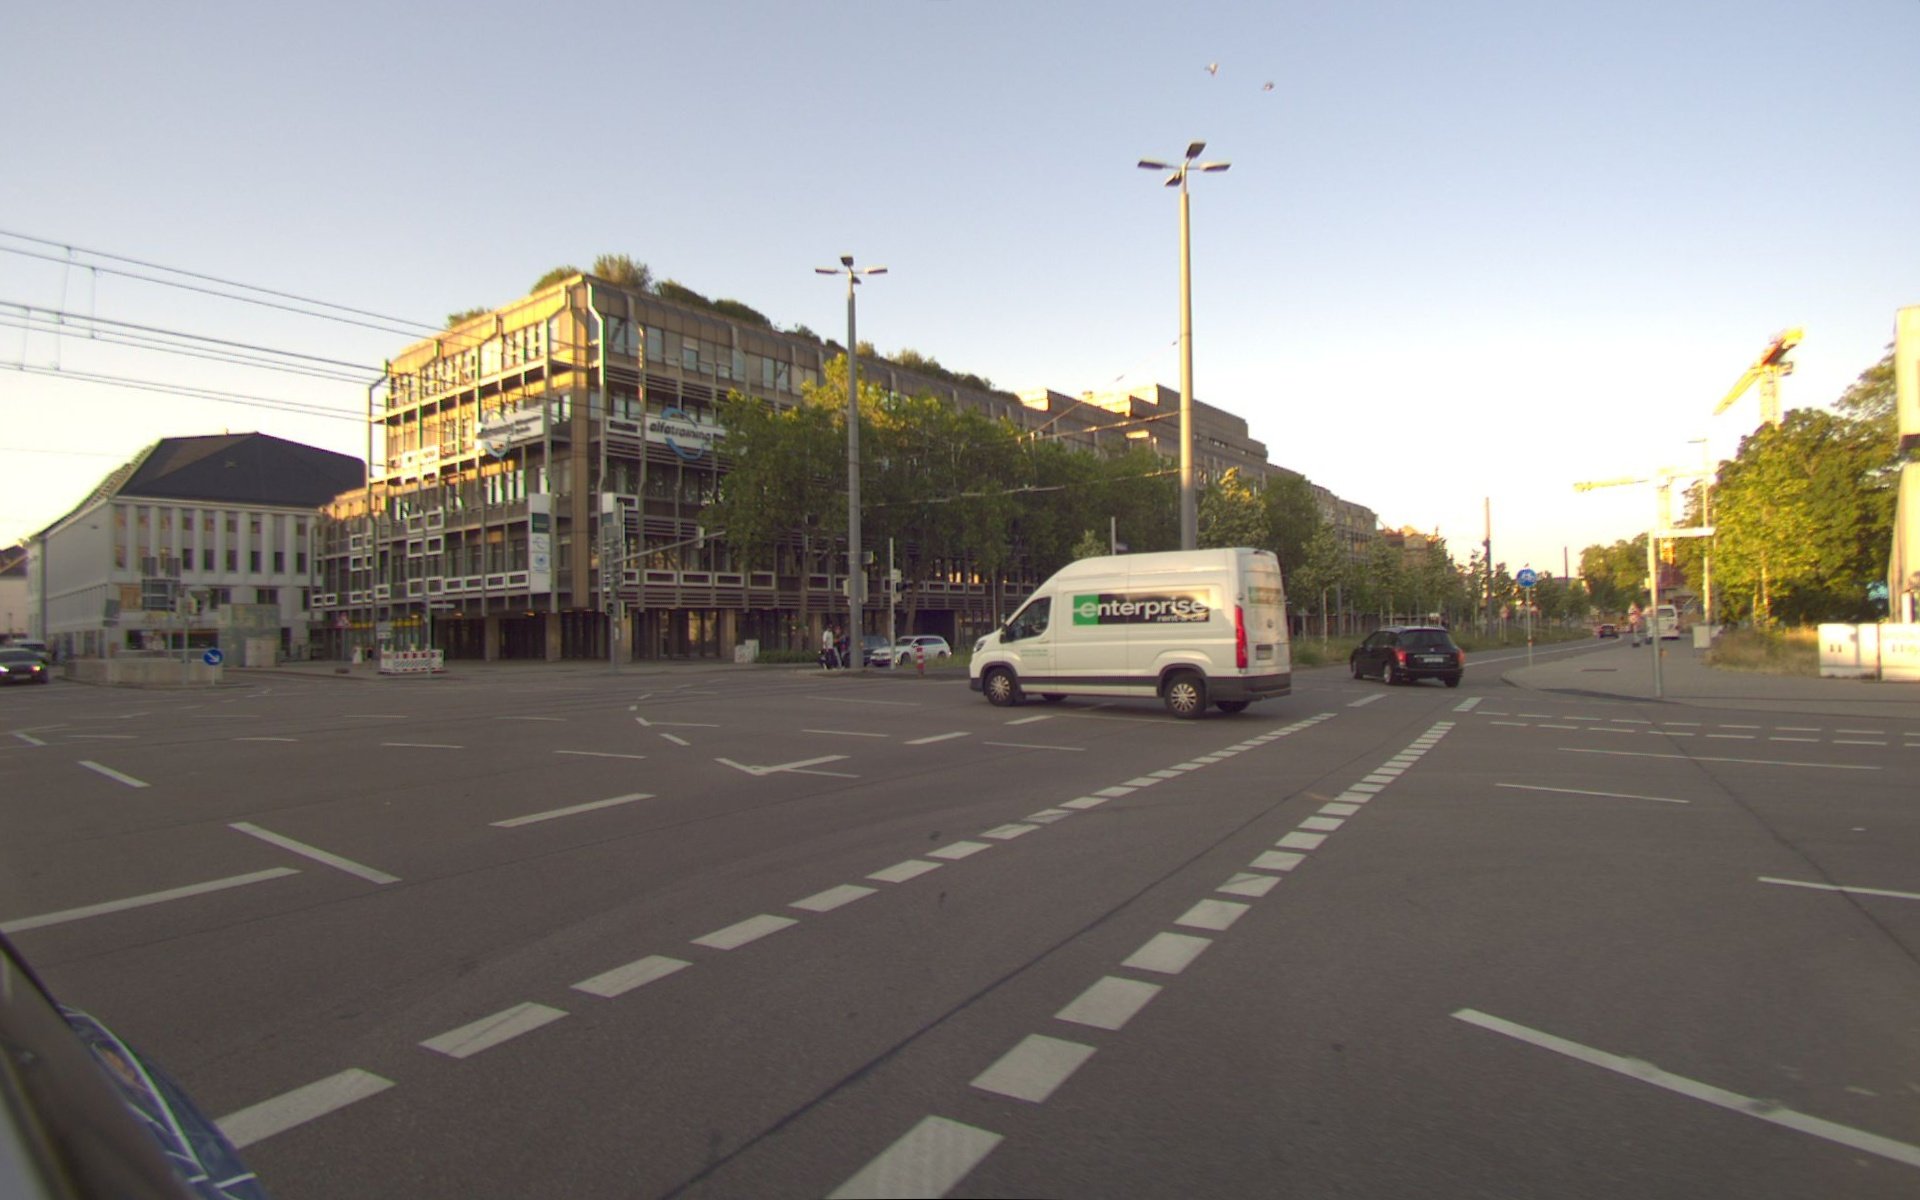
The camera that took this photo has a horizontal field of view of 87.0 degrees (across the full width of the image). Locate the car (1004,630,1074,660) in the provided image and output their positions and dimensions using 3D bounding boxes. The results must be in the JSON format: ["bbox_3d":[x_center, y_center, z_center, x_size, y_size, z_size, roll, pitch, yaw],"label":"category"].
[{"bbox_3d":[4.547,2.558,57.833,2.071,1.663,3.946,-3,-3,40],"label":"car"}]

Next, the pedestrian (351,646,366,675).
[{"bbox_3d":[-35.939,3.605,60.454,0.682,1.726,0.637,-4,-3,44],"label":"pedestrian"}]

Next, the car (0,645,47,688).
[{"bbox_3d":[-39.313,2.732,41.805,4.000,1.663,2.044,-3,-3,43],"label":"car"}]

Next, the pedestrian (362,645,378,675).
[{"bbox_3d":[-35.564,3.615,61.008,0.650,1.726,0.643,-4,-3,44],"label":"pedestrian"}]

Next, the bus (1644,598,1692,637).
[{"bbox_3d":[71.049,1.811,101.495,3.551,3.743,8.811,-2,-2,37],"label":"bus"}]

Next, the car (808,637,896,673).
[{"bbox_3d":[-5.399,2.730,50.902,1.857,1.663,4.342,-3,-3,40],"label":"car"}]

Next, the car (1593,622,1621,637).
[{"bbox_3d":[75.075,3.406,117.386,2.072,1.663,3.945,-3,-2,41],"label":"car"}]

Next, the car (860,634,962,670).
[{"bbox_3d":[-2.346,2.540,49.639,1.999,1.597,5.093,-3,-3,41],"label":"car"}]

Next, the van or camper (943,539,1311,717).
[{"bbox_3d":[2.772,0.574,18.073,6.156,2.687,2.204,-3,-3,39],"label":"van or camper"}]

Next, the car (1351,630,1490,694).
[{"bbox_3d":[12.162,1.592,27.090,2.048,1.564,4.469,-1,-2,6],"label":"car"}]

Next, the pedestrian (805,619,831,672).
[{"bbox_3d":[-5.283,1.676,37.643,0.680,1.946,0.636,-3,-3,39],"label":"pedestrian"}]
